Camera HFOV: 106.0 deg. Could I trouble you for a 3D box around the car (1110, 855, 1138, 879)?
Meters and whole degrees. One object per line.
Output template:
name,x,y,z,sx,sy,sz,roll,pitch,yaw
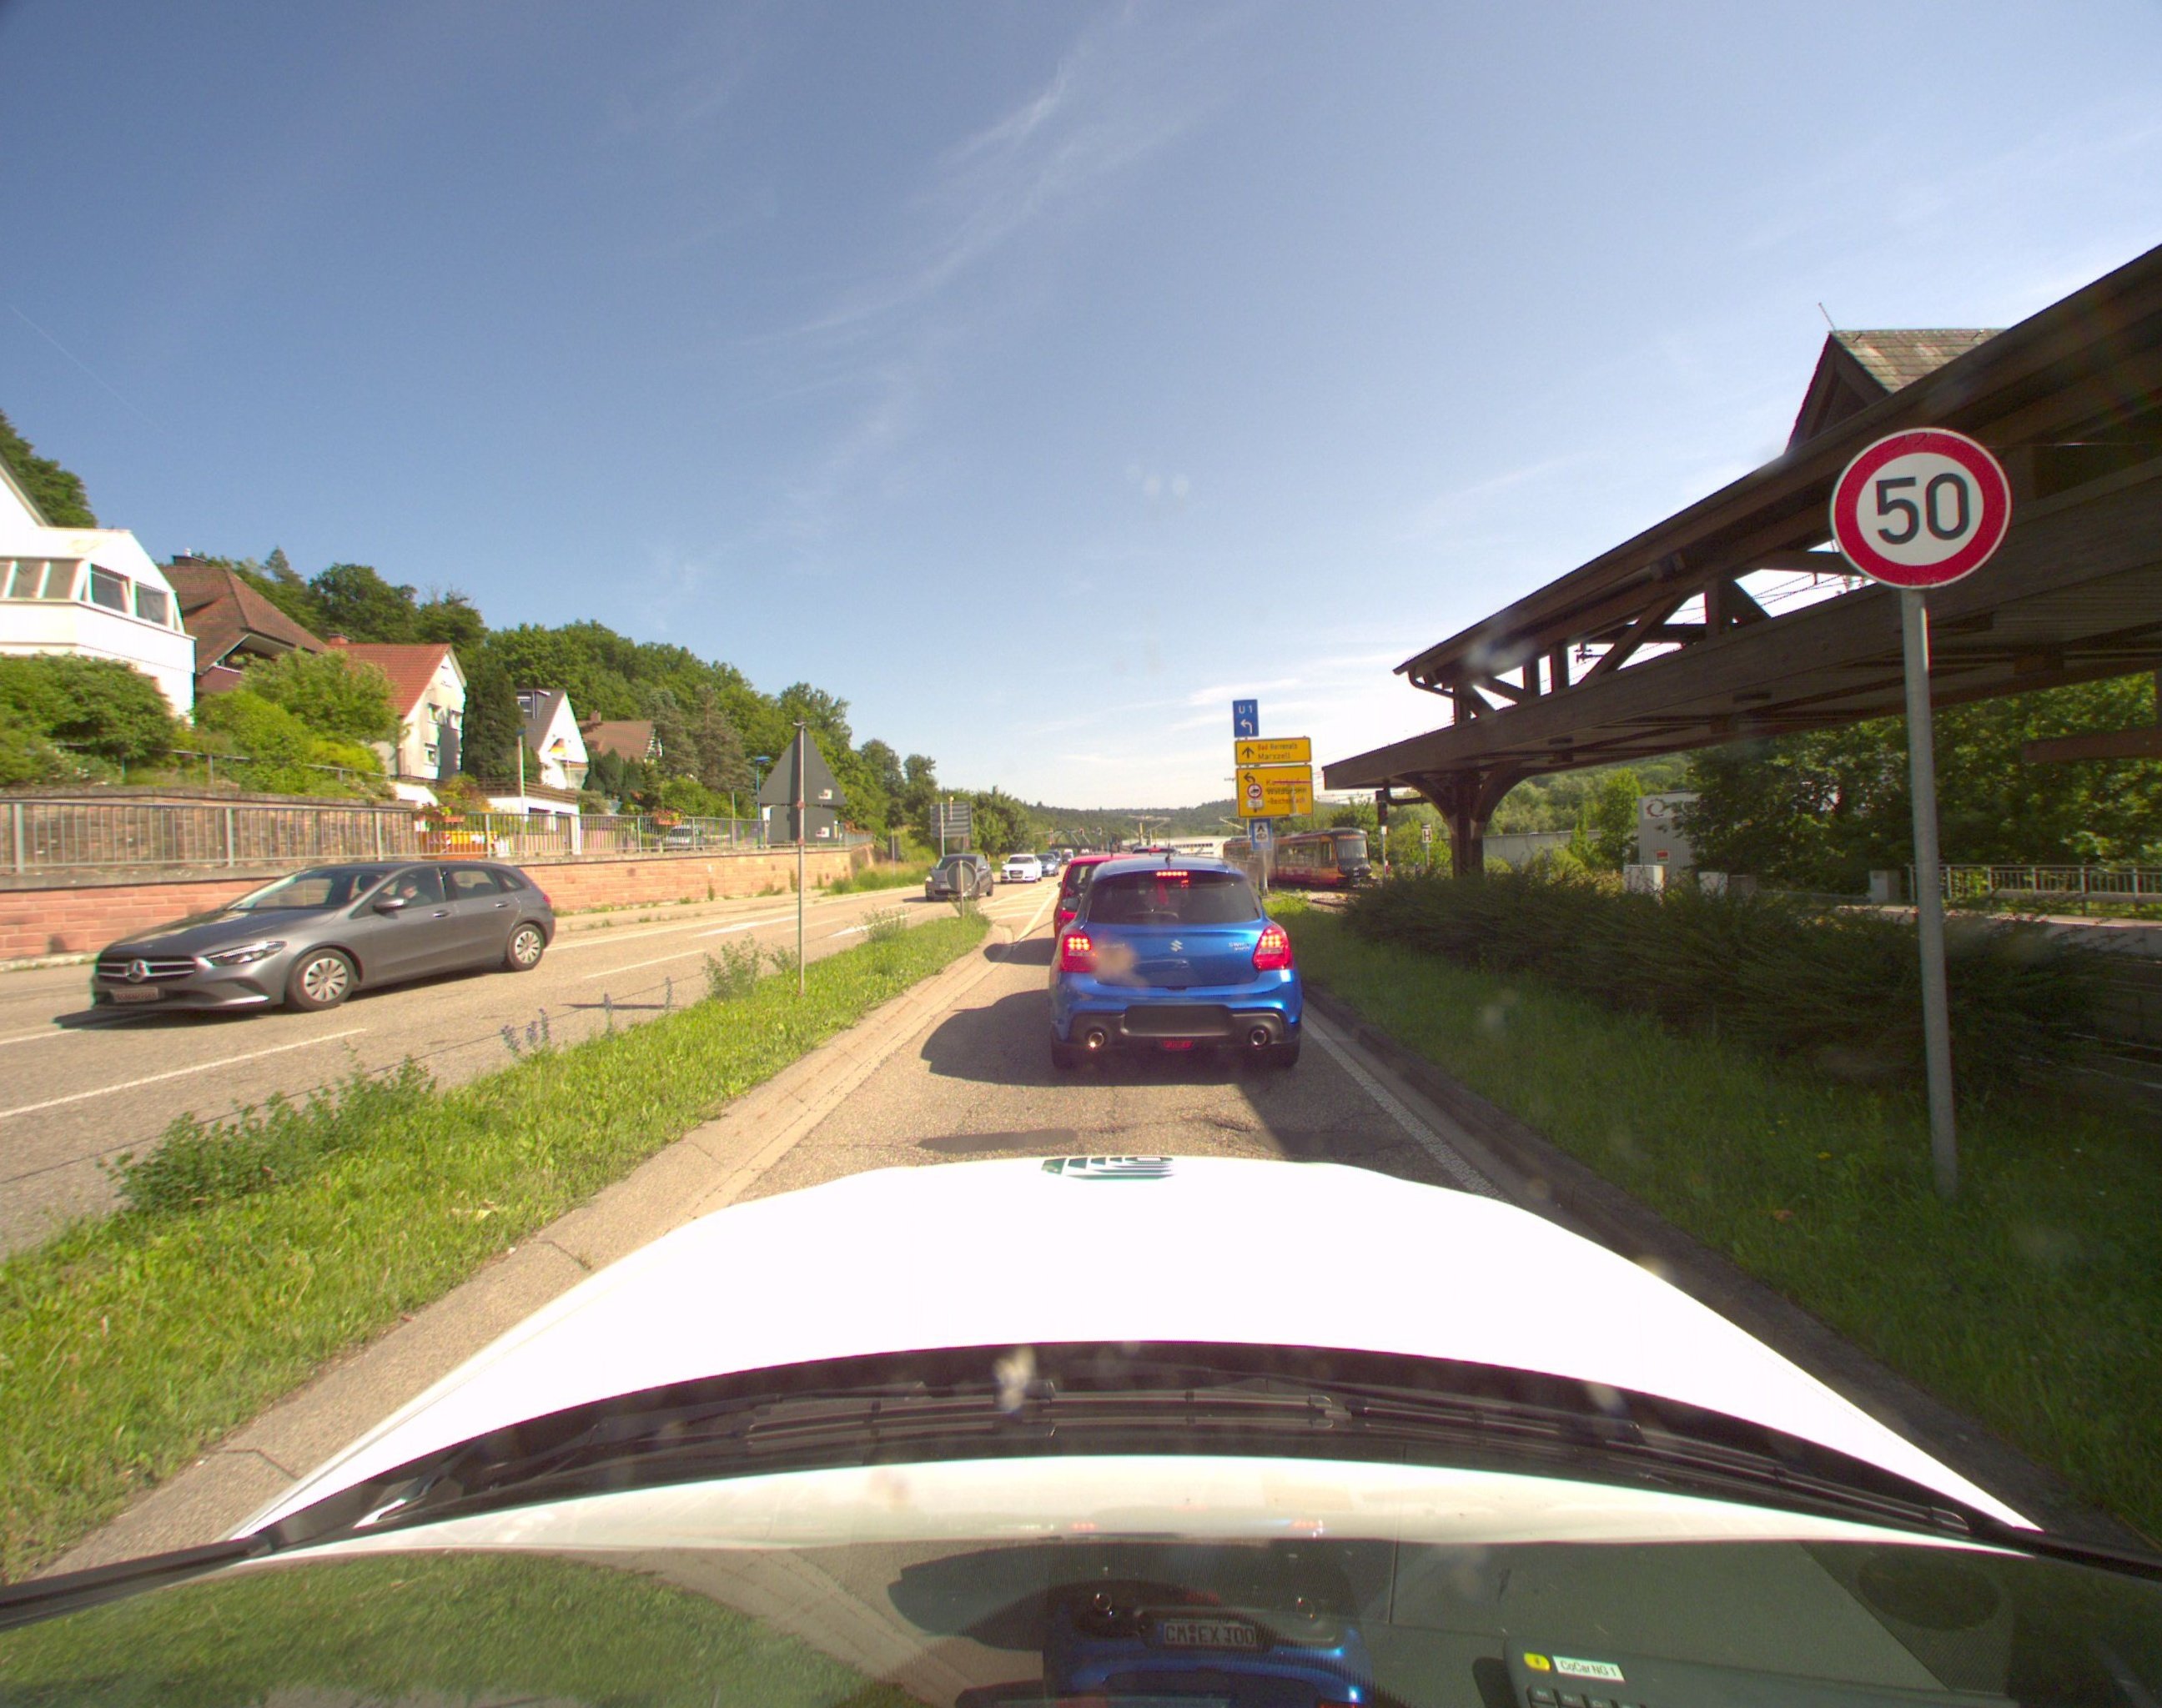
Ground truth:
car,2.901,0.868,54.691,1.824,1.431,3.815,1,1,4

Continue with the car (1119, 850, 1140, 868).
car,4.453,0.426,74.089,1.824,1.493,3.815,1,1,4

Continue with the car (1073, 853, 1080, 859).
car,-1.323,0.648,258.021,1.986,1.739,4.002,0,1,2

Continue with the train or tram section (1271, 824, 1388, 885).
train or tram section,15.552,0.031,52.696,2.848,3.365,14.345,-1,0,-1

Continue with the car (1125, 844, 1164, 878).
car,3.411,0.326,44.057,1.985,1.736,4.004,1,0,3

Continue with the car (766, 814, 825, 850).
car,-16.109,-1.240,46.133,2.017,1.920,4.724,0,1,-5

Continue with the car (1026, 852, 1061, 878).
car,-2.355,0.663,51.700,1.825,1.468,3.815,1,2,3

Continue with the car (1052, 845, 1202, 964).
car,0.733,0.672,12.833,1.985,1.571,4.004,0,0,3

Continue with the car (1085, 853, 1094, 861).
car,2.101,0.676,196.598,1.986,1.816,4.002,0,1,2

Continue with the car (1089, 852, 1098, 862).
car,2.657,0.621,173.477,1.986,2.013,4.002,0,1,2

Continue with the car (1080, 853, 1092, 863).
car,0.858,0.719,140.346,1.986,1.783,4.002,0,0,2

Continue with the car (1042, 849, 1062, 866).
car,-3.148,0.343,89.975,1.825,1.713,3.814,1,1,3

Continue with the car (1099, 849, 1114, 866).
car,3.300,0.440,105.209,1.986,2.013,4.002,0,1,2

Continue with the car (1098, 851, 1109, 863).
car,4.058,0.467,147.687,1.986,2.013,4.002,0,1,2

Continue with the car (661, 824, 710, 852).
car,-24.467,-0.977,50.506,1.898,1.629,3.981,-1,0,-14

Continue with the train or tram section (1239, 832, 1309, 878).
train or tram section,15.309,0.075,65.748,2.777,3.364,12.045,0,0,0

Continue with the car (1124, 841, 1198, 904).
car,2.282,0.487,24.158,1.985,1.686,4.501,1,0,3

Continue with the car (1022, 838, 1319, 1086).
car,0.606,0.676,7.162,1.862,1.548,4.001,-1,0,1

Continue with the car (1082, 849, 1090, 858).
car,1.435,-0.118,216.687,1.986,2.144,4.722,0,0,2

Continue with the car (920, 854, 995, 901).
car,-3.995,0.723,26.950,1.665,1.441,3.843,-1,0,3

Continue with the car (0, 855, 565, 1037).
car,-8.591,0.833,9.523,1.985,1.564,4.514,-1,0,4

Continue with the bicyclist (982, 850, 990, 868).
bicyclist,-8.112,0.389,69.430,0.627,1.507,0.506,0,1,-2

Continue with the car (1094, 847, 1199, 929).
car,1.402,0.644,18.090,1.985,1.531,4.606,-2,0,3

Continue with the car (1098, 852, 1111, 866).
car,3.600,0.787,126.751,1.986,2.013,4.002,0,1,2

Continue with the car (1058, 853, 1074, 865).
car,-1.837,0.645,103.044,1.826,1.431,3.812,0,1,1

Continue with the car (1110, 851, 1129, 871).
car,4.073,0.741,87.381,1.986,2.013,4.002,0,1,2

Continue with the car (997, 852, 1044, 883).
car,-2.971,0.647,40.823,1.825,1.369,3.953,0,1,3

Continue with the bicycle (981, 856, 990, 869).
bicycle,-8.143,0.734,69.482,0.564,1.043,1.551,0,1,-1

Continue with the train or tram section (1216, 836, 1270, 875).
train or tram section,15.230,0.074,77.789,2.747,3.364,12.046,0,1,0
